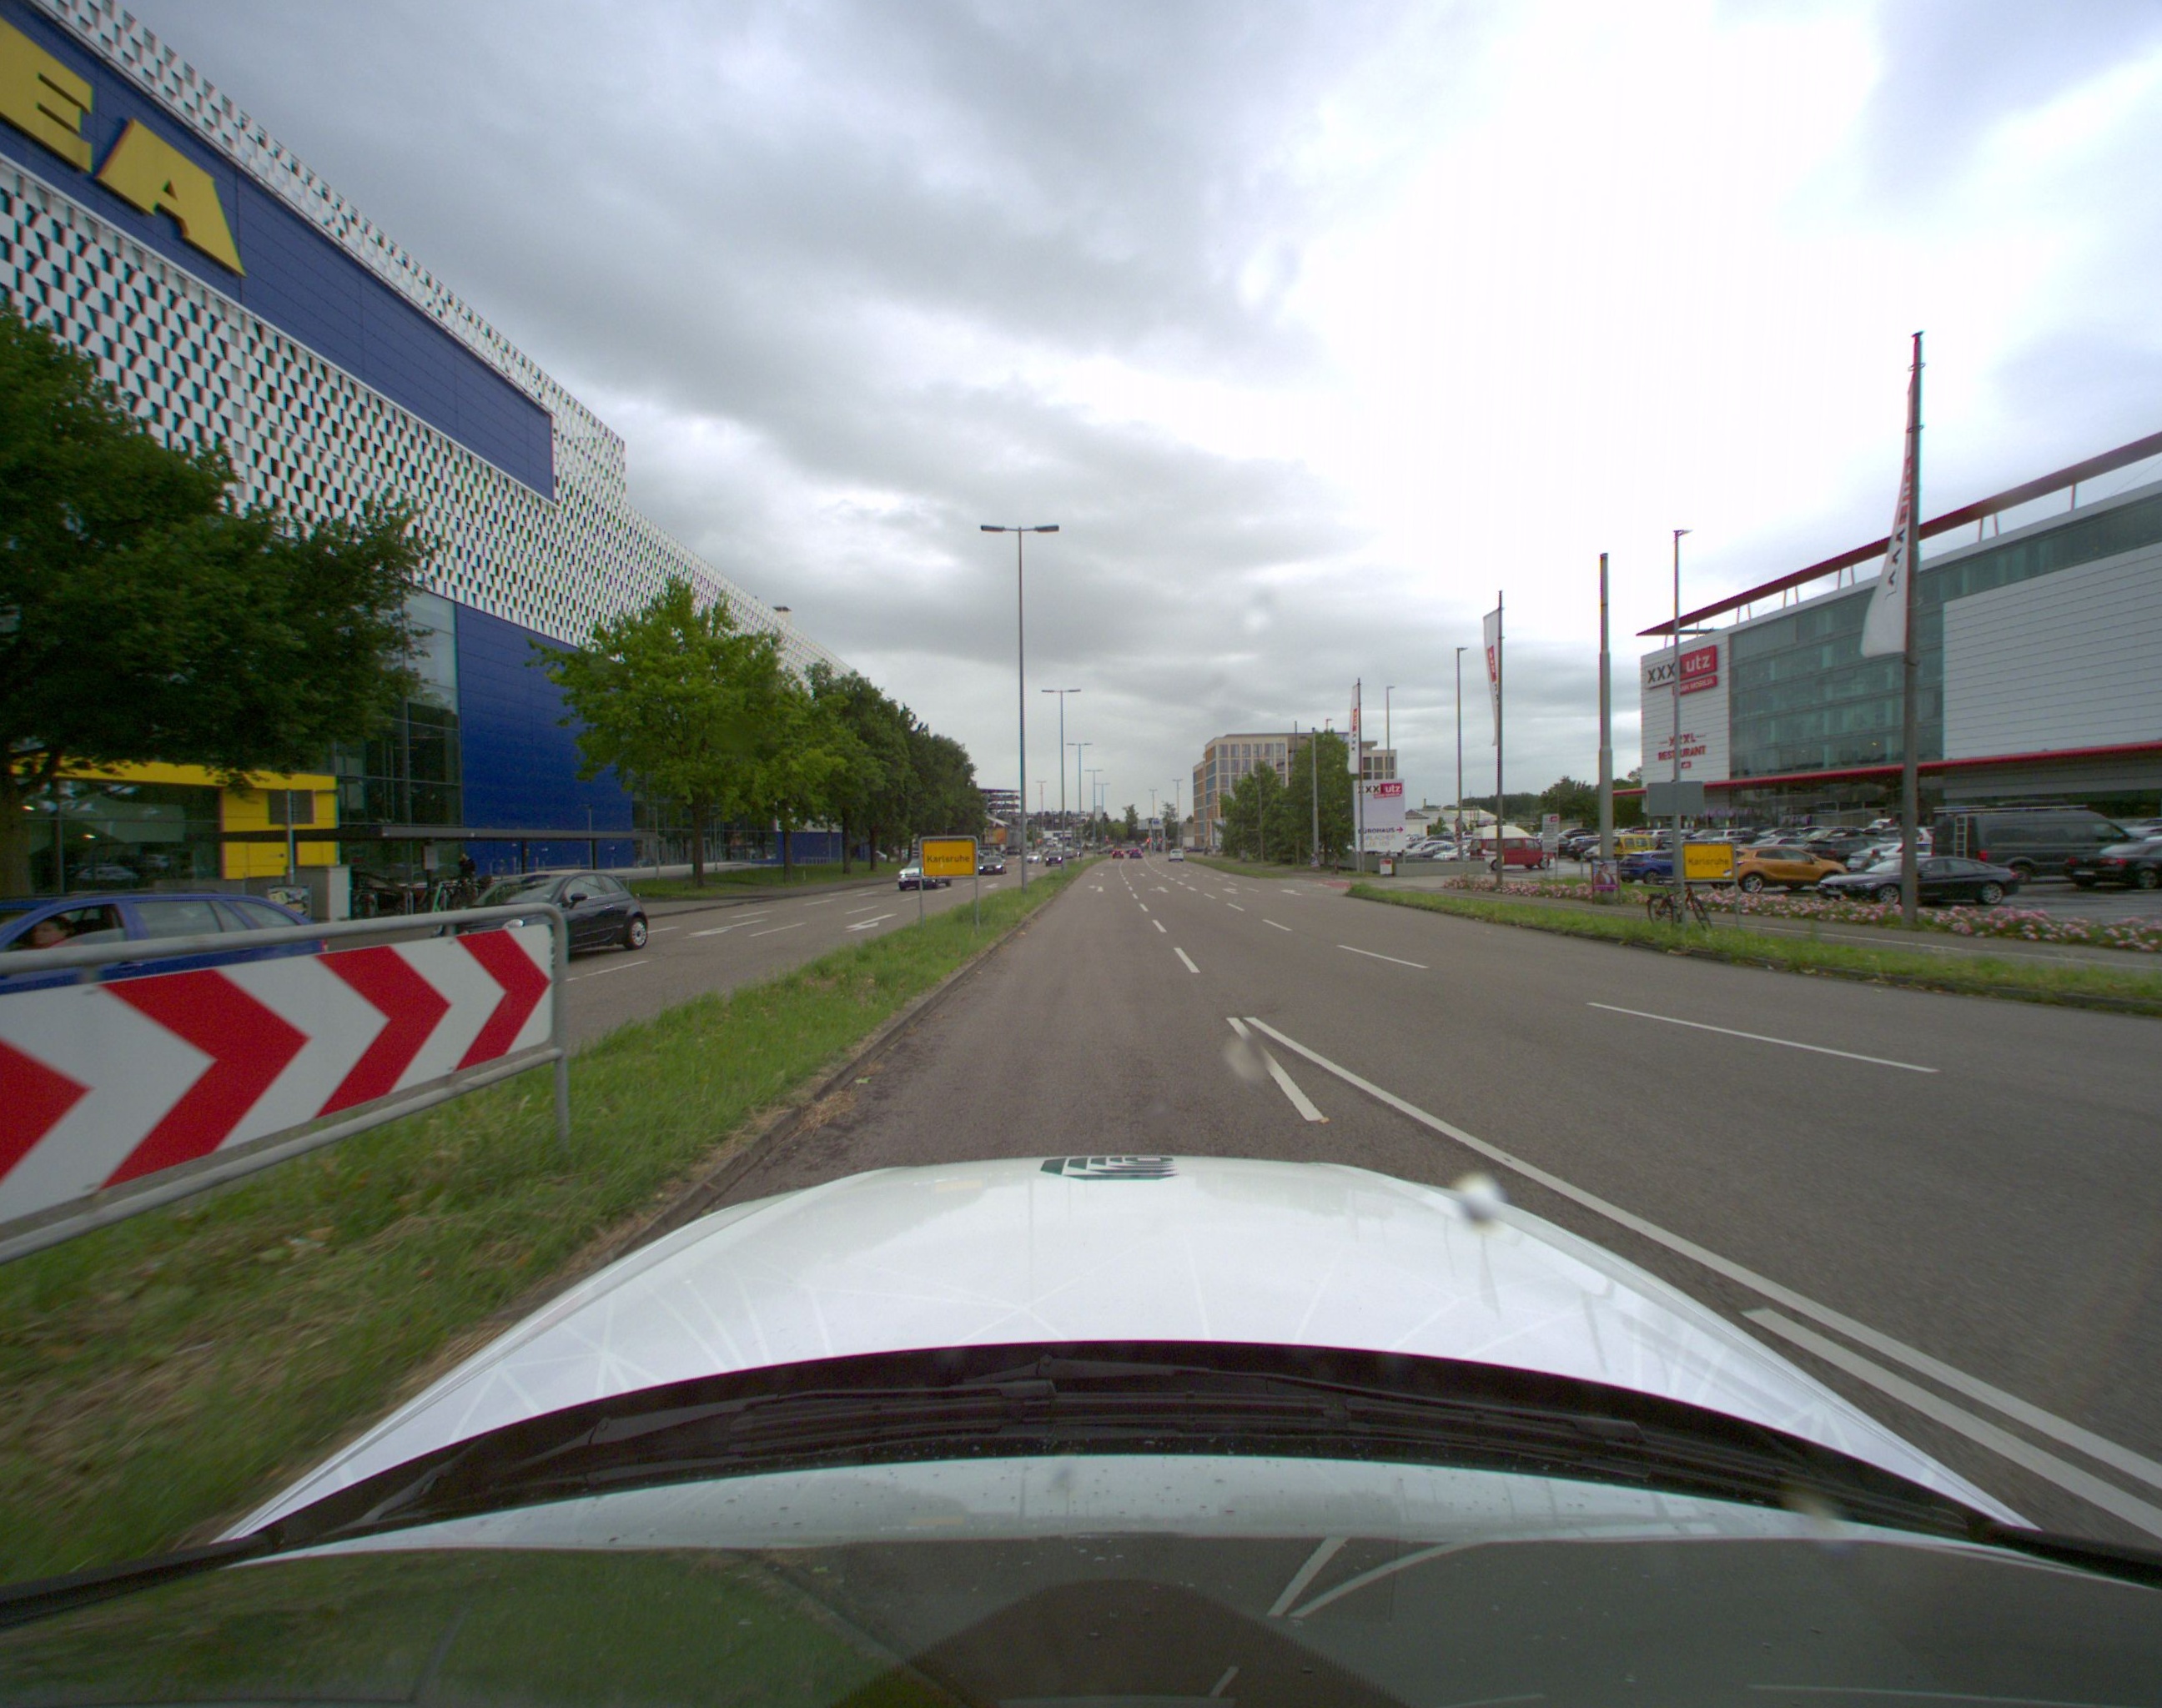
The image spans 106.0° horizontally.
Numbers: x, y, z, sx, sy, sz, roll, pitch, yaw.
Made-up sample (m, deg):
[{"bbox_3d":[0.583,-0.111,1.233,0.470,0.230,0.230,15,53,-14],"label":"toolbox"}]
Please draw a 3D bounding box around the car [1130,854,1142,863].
[{"bbox_3d":[8.773,0.717,130.291,1.827,1.514,4.003,0,-1,3],"label":"car"}]

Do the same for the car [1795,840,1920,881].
[{"bbox_3d":[34.782,0.271,36.564,3.878,1.654,1.832,-2,1,0],"label":"car"}]

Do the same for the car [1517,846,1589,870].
[{"bbox_3d":[35.452,0.282,61.203,4.292,1.743,1.892,0,2,4],"label":"car"}]

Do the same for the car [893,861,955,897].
[{"bbox_3d":[-7.484,1.145,39.192,1.923,1.519,4.185,-3,-1,3],"label":"car"}]

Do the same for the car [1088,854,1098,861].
[{"bbox_3d":[2.506,0.697,168.126,1.926,1.455,4.179,0,0,-2],"label":"car"}]

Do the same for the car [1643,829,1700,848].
[{"bbox_3d":[51.182,-1.331,70.632,3.550,1.587,1.743,0,0,6],"label":"car"}]

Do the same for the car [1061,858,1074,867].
[{"bbox_3d":[-2.283,1.378,135.254,1.765,1.452,4.408,-3,0,3],"label":"car"}]

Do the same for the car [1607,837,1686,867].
[{"bbox_3d":[35.421,-0.151,51.097,3.720,1.767,1.735,-1,2,3],"label":"car"}]

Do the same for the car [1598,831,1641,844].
[{"bbox_3d":[58.028,-1.776,87.776,3.577,1.376,1.704,-1,2,4],"label":"car"}]

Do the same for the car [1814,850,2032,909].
[{"bbox_3d":[24.460,0.717,23.776,4.509,1.583,1.770,-1,1,1],"label":"car"}]

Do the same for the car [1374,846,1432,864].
[{"bbox_3d":[26.054,0.082,65.980,4.040,1.350,1.764,-1,2,1],"label":"car"}]

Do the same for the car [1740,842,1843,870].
[{"bbox_3d":[39.988,0.095,45.908,4.221,1.468,1.741,0,2,3],"label":"car"}]

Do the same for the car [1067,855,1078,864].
[{"bbox_3d":[-1.503,0.997,152.980,1.773,1.455,4.185,-3,0,2],"label":"car"}]

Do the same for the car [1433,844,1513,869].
[{"bbox_3d":[25.871,0.151,53.845,4.355,1.461,1.963,-1,2,3],"label":"car"}]

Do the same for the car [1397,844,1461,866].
[{"bbox_3d":[26.046,0.090,61.038,4.036,1.540,1.766,-1,2,3],"label":"car"}]

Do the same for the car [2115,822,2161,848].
[{"bbox_3d":[66.398,-1.180,49.891,3.779,1.554,1.831,-1,2,1],"label":"car"}]

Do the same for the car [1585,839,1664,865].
[{"bbox_3d":[35.689,-0.148,53.544,3.970,1.595,1.881,-1,2,3],"label":"car"}]

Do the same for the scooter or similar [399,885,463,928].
[{"bbox_3d":[-18.580,1.482,23.311,0.419,1.148,1.357,1,0,33],"label":"scooter or similar"}]

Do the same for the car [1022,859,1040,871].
[{"bbox_3d":[-6.378,1.384,104.403,1.859,1.454,4.170,-2,-1,2],"label":"car"}]

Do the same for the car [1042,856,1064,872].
[{"bbox_3d":[-2.801,1.039,82.683,1.924,1.486,4.440,-2,0,1],"label":"car"}]

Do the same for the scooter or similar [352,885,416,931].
[{"bbox_3d":[-19.206,1.468,22.456,0.354,1.185,1.301,1,0,39],"label":"scooter or similar"}]

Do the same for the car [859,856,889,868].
[{"bbox_3d":[-39.730,1.492,156.472,5.118,1.963,1.880,-2,4,-2],"label":"car"}]

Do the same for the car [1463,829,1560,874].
[{"bbox_3d":[25.858,-0.187,49.029,4.702,2.579,2.173,-1,2,3],"label":"car"}]

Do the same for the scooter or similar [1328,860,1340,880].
[{"bbox_3d":[15.802,0.975,50.817,0.368,1.191,1.249,-1,1,2],"label":"scooter or similar"}]

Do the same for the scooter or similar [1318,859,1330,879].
[{"bbox_3d":[17.719,1.114,59.342,0.646,1.421,1.824,-1,-1,11],"label":"scooter or similar"}]

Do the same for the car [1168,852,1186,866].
[{"bbox_3d":[12.081,0.623,102.886,1.984,1.752,4.185,-1,0,4],"label":"car"}]

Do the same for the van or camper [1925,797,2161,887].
[{"bbox_3d":[33.888,-0.385,28.848,5.347,2.984,1.997,-1,-1,10],"label":"van or camper"}]

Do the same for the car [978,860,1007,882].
[{"bbox_3d":[-6.663,1.241,61.496,1.879,1.436,4.426,-3,1,-3],"label":"car"}]

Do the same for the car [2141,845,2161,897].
[{"bbox_3d":[34.225,0.464,23.662,3.965,1.556,1.951,-1,-1,7],"label":"car"}]

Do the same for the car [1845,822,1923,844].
[{"bbox_3d":[57.709,-1.513,58.589,3.779,1.554,1.831,-1,2,1],"label":"car"}]

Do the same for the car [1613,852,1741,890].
[{"bbox_3d":[24.868,0.698,34.067,3.970,1.455,1.816,-1,-1,3],"label":"car"}]

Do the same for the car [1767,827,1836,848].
[{"bbox_3d":[55.938,-1.260,63.257,3.757,1.554,1.744,-1,2,2],"label":"car"}]

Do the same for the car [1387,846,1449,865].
[{"bbox_3d":[26.146,0.075,63.228,4.040,1.350,1.836,-1,2,1],"label":"car"}]

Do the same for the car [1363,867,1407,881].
[{"bbox_3d":[31.897,2.101,85.475,4.040,1.350,1.764,0,0,0],"label":"car"}]

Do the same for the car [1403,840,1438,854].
[{"bbox_3d":[41.707,-0.829,100.033,3.613,1.632,1.704,-1,2,6],"label":"car"}]

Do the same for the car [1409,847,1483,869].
[{"bbox_3d":[26.123,0.276,58.400,4.446,1.419,1.869,-1,2,3],"label":"car"}]

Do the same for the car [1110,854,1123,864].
[{"bbox_3d":[5.453,0.773,126.230,1.980,1.428,4.242,-1,-1,1],"label":"car"}]

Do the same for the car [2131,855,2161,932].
[{"bbox_3d":[24.353,0.812,16.398,4.076,1.583,1.771,-1,1,2],"label":"car"}]
